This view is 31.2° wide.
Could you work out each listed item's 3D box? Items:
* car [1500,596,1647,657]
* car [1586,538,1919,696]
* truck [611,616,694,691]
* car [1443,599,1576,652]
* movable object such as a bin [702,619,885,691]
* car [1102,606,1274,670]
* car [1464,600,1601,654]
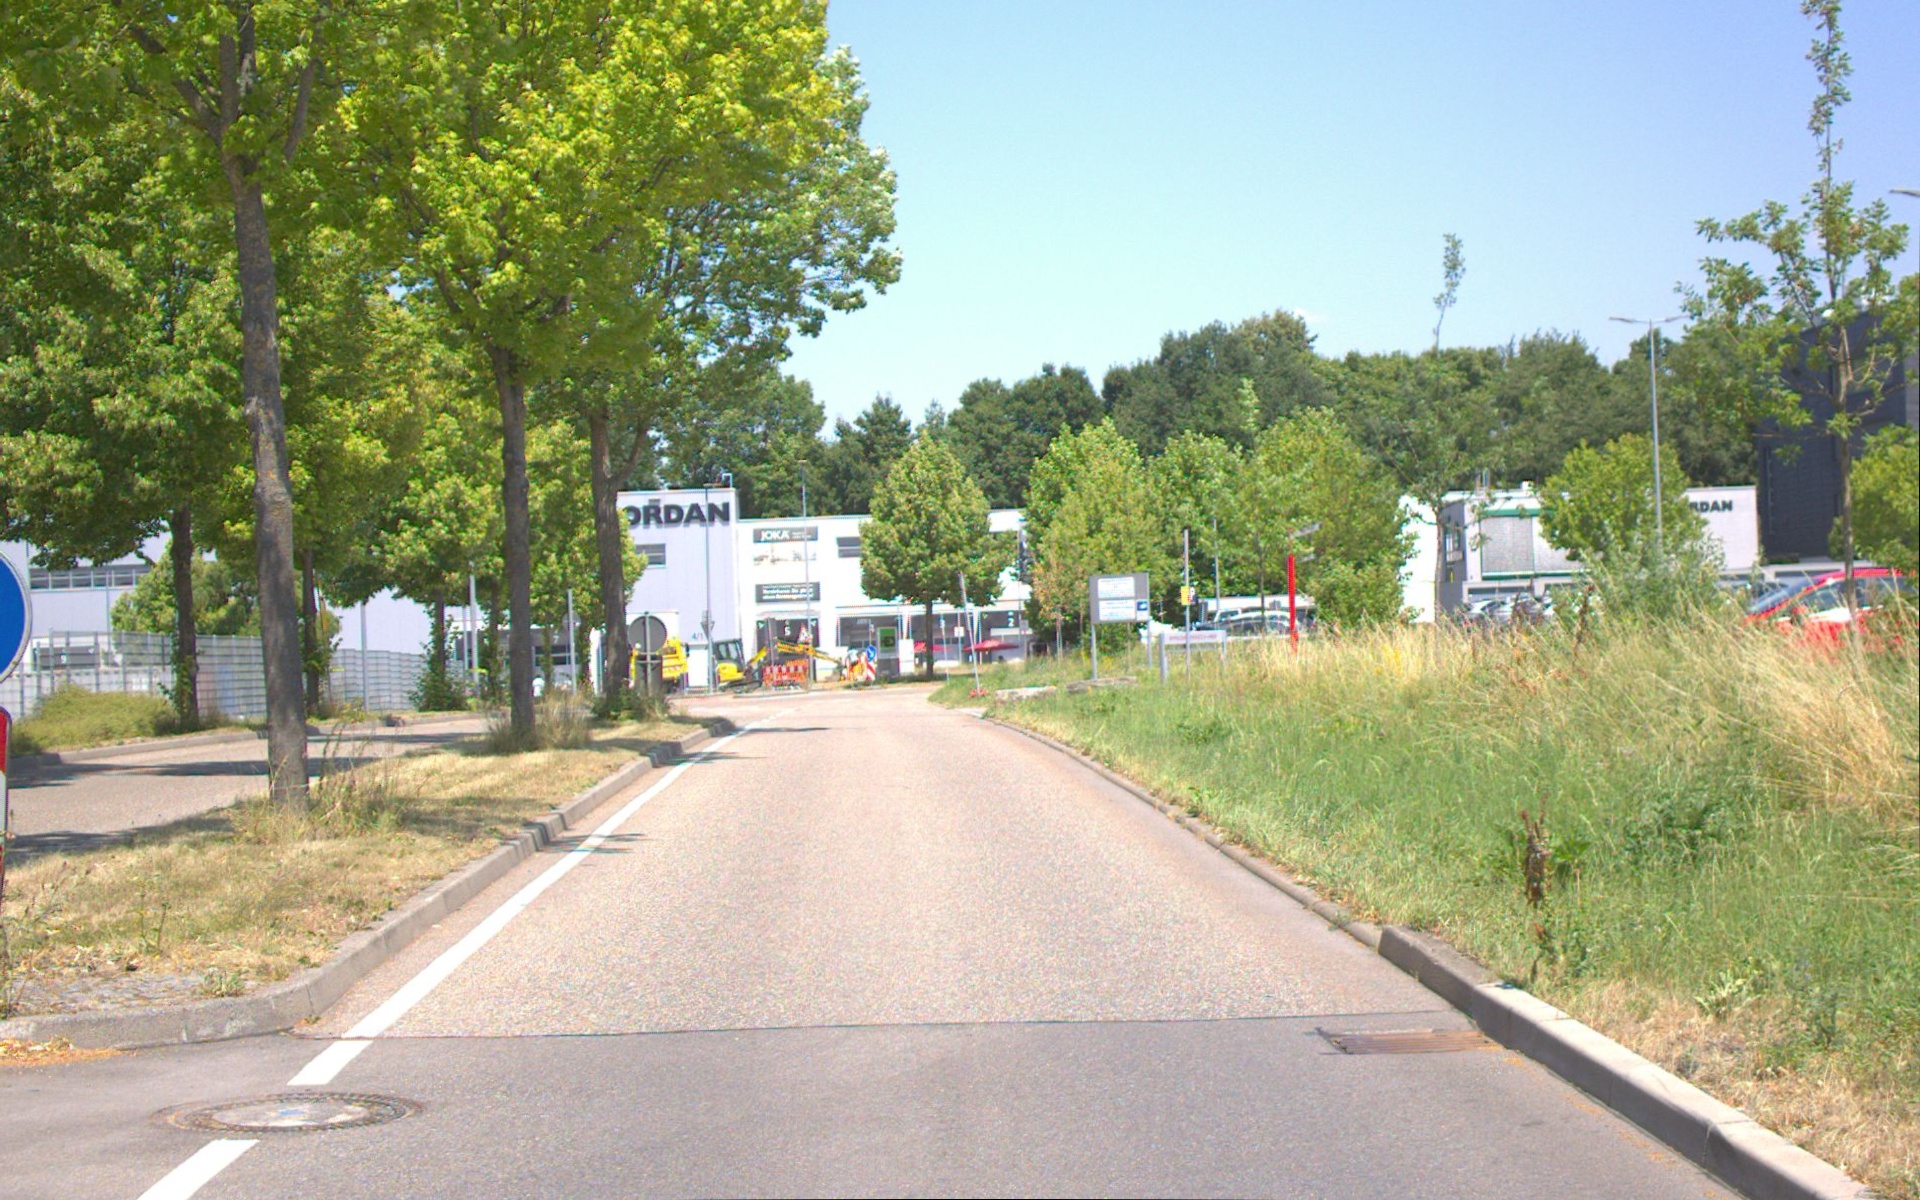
[{"bbox_3d":[18.659,0.788,104.679,3.986,1.485,1.769,-4,3,-5],"label":"car"},{"bbox_3d":[10.039,0.213,42.851,3.987,1.718,1.927,-3,-1,-2],"label":"car"},{"bbox_3d":[-13.733,2.348,153.189,2.938,2.876,5.811,-4,3,-10],"label":"truck"},{"bbox_3d":[18.245,0.846,114.191,3.986,1.395,1.769,-4,3,-5],"label":"car"},{"bbox_3d":[-7.369,2.433,153.286,7.528,2.491,3.666,-4,3,6],"label":"movable object such as a bin"},{"bbox_3d":[6.490,1.078,98.185,4.704,1.395,1.922,-4,3,0],"label":"car"},{"bbox_3d":[18.535,0.856,111.408,3.986,1.395,1.769,-4,3,-5],"label":"car"}]
